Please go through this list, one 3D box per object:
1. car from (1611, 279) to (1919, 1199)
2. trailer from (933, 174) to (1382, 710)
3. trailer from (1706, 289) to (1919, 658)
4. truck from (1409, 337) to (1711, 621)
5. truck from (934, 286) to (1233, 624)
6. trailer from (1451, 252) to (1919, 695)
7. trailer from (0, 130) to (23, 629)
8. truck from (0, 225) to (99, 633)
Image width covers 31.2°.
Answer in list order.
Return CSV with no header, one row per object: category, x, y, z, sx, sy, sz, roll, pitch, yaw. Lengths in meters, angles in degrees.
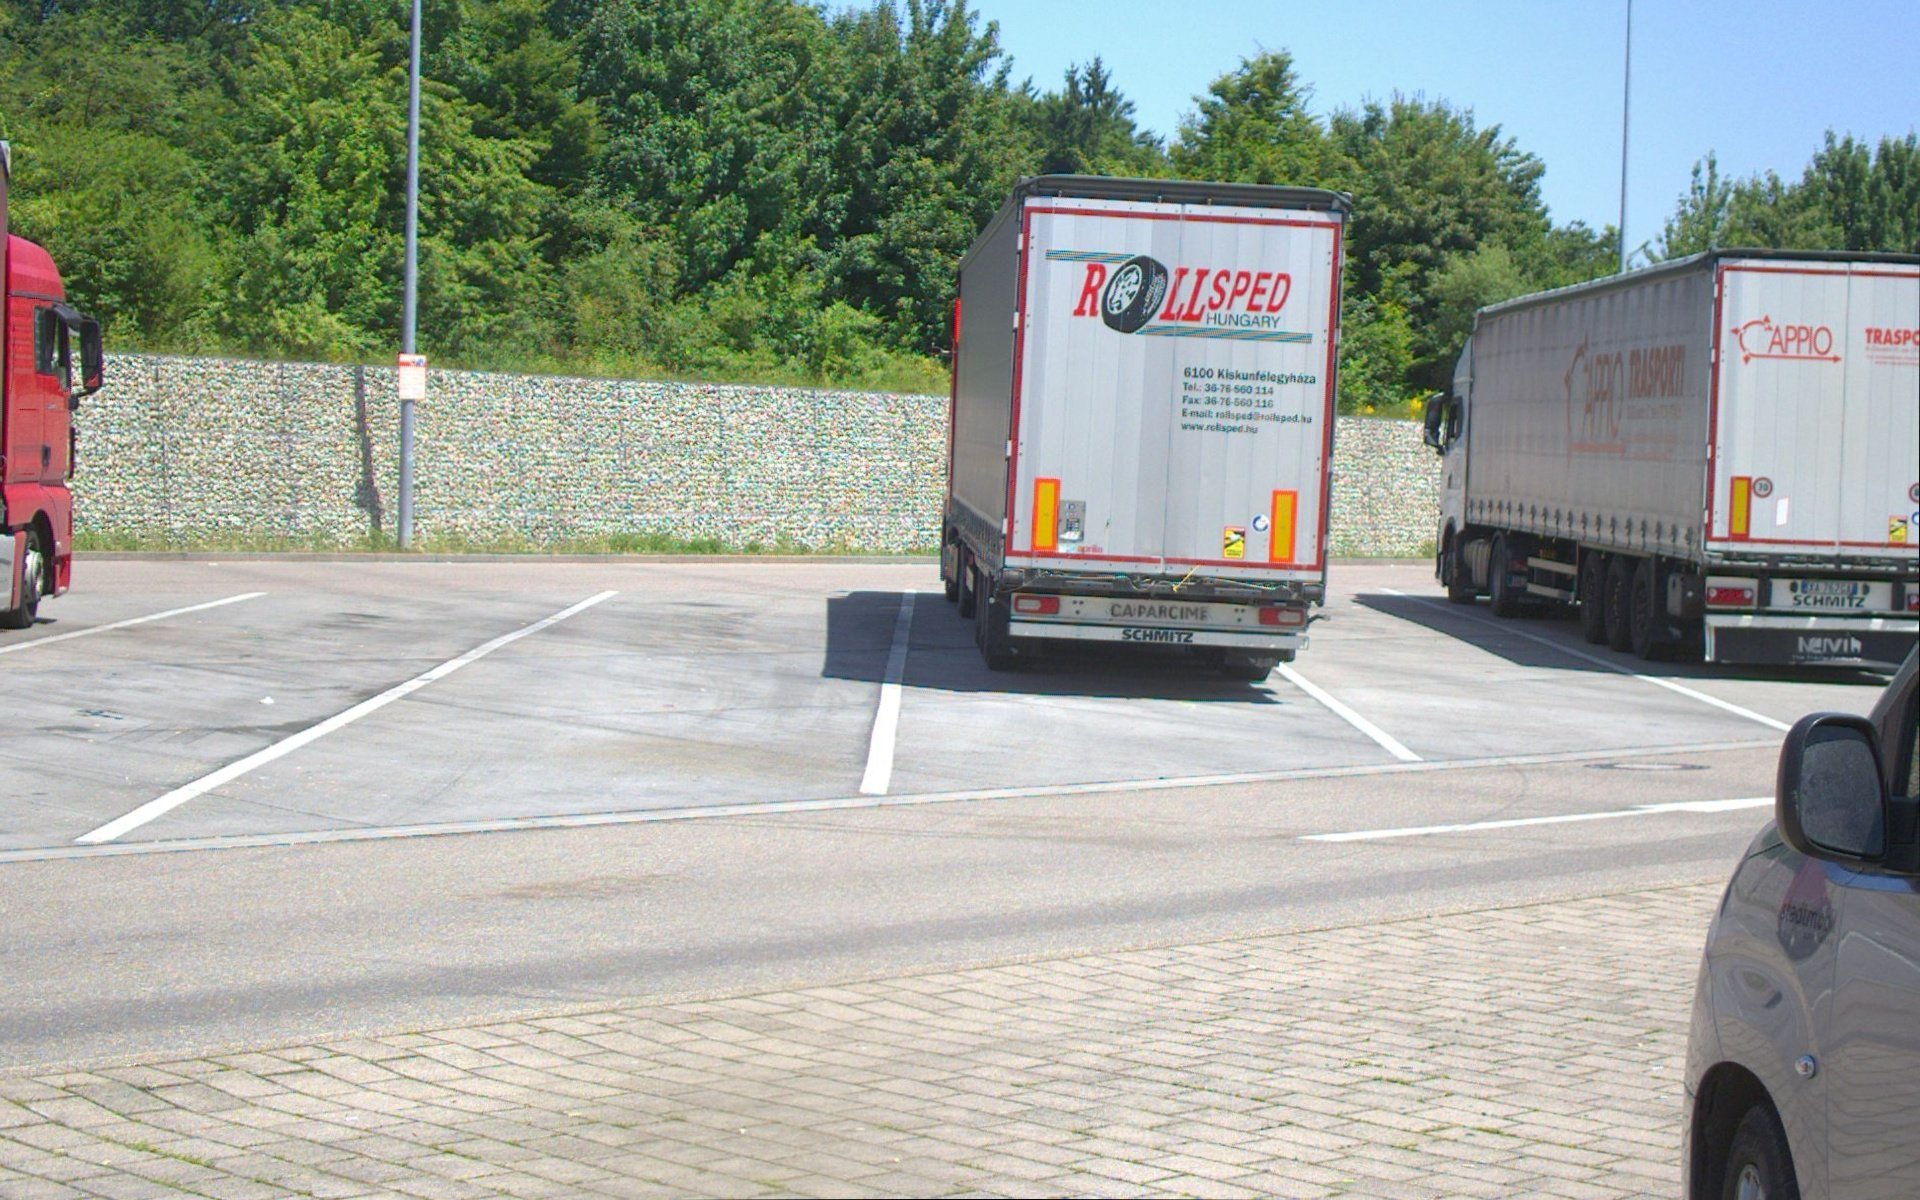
car,2.151,0.581,3.819,1.869,1.857,4.177,2,2,-2
trailer,1.454,-1.594,33.588,3.133,3.976,14.397,2,3,-1
trailer,11.763,-1.457,39.750,2.811,3.976,14.396,2,3,-1
truck,8.030,-1.699,46.799,2.862,3.509,5.900,2,3,-1
truck,1.318,-1.735,40.480,3.103,3.554,5.900,2,3,-1
trailer,8.121,-1.524,38.699,2.811,3.976,14.396,2,3,-1
trailer,-9.190,-1.489,21.540,2.791,4.071,14.133,2,3,-1
truck,-9.233,-1.443,28.114,2.851,3.316,5.900,2,3,-1
